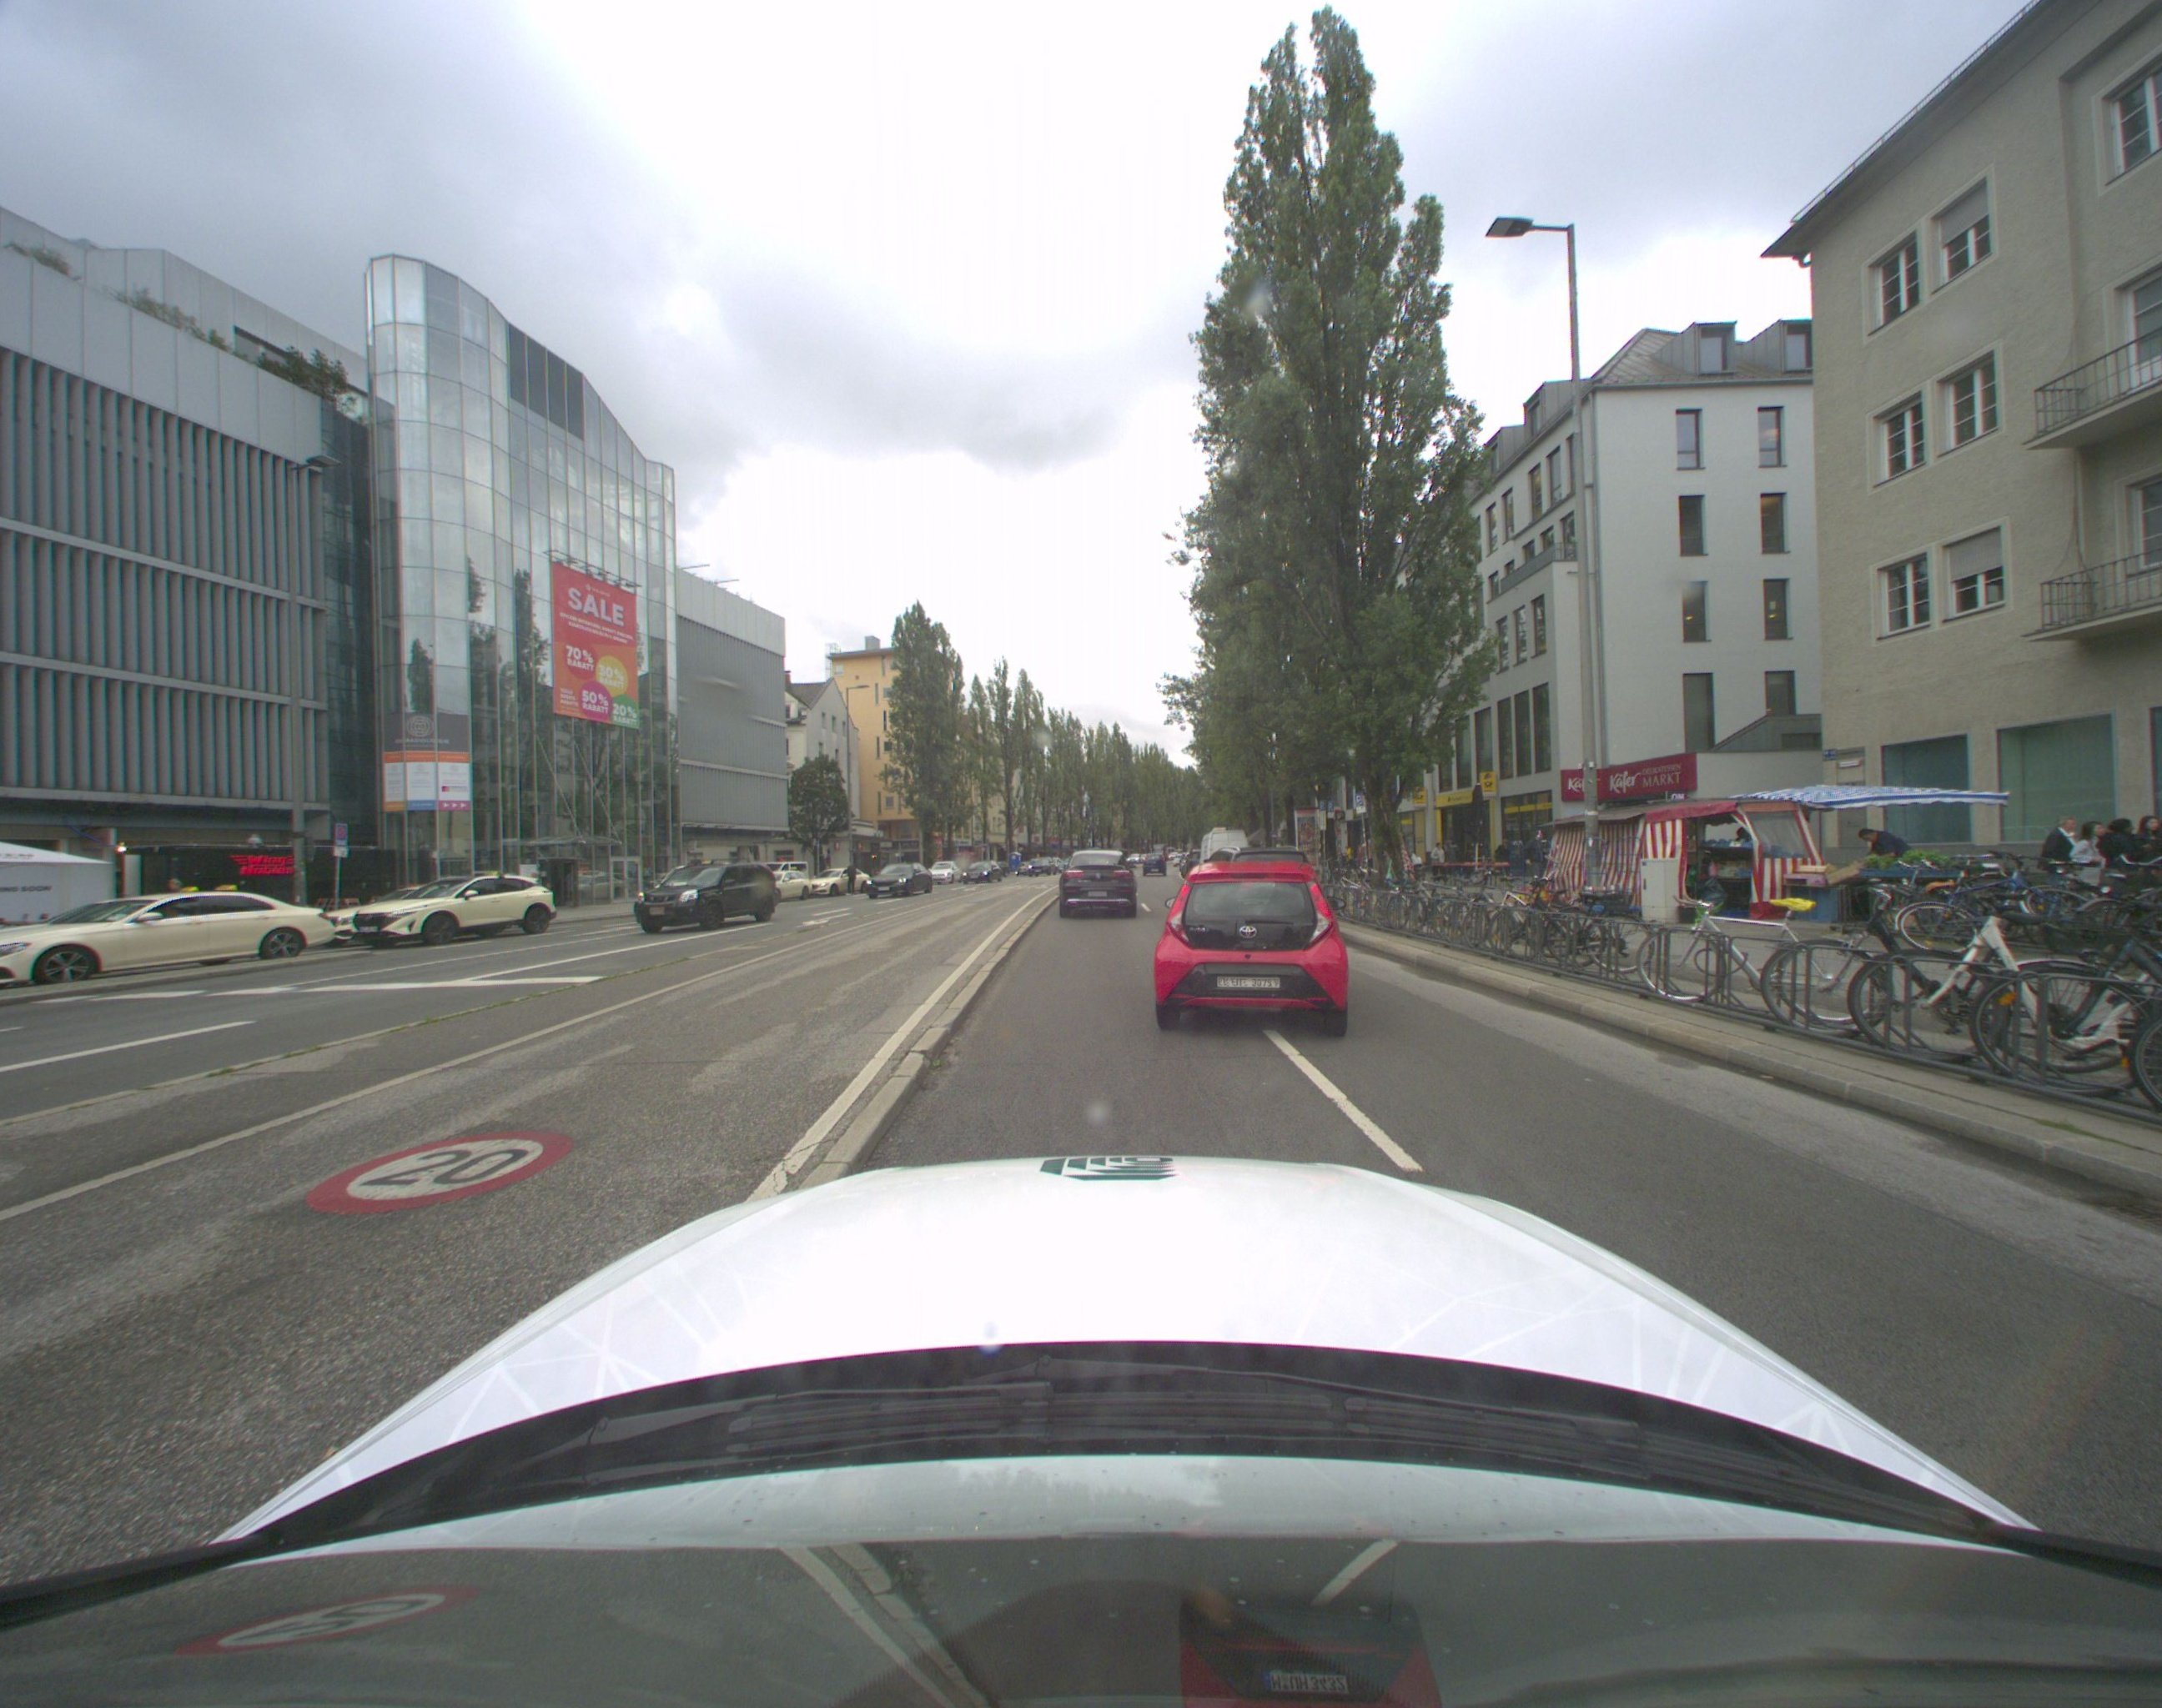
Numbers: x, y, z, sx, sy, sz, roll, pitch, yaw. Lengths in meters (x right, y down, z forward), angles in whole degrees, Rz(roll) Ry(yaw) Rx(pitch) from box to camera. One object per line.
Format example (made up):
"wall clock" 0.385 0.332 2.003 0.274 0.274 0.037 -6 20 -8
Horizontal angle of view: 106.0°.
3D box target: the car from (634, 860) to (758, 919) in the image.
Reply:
"car" -14.979 1.310 32.104 1.985 2.013 5.327 -3 0 4

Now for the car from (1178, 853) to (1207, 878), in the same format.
"car" 7.707 0.766 56.632 1.719 1.686 4.414 -1 0 5

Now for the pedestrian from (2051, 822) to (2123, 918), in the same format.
"pedestrian" 16.342 0.258 13.240 0.557 1.540 0.466 0 -1 1

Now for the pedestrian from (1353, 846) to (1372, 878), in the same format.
"pedestrian" 15.459 0.456 44.741 0.712 1.724 0.744 -3 -1 38

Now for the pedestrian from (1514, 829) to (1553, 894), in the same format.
"pedestrian" 12.678 0.214 22.840 0.789 1.795 0.573 0 -1 7

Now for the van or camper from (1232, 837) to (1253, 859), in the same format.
"van or camper" 23.478 -0.849 118.261 2.442 3.112 4.734 -3 0 15

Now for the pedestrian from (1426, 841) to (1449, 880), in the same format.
"pedestrian" 14.589 0.269 33.342 0.638 1.583 0.636 -3 0 9

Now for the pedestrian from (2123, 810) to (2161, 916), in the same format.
"pedestrian" 17.178 0.146 13.037 0.527 1.673 0.469 0 -1 -23

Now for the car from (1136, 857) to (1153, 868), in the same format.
"car" 10.170 1.298 130.824 1.981 1.589 5.211 -4 0 11

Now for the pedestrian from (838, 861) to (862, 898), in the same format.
"pedestrian" -12.046 1.320 42.541 0.779 1.867 0.852 -2 0 26

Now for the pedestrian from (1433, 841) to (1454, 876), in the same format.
"pedestrian" 17.740 0.214 39.855 0.687 1.649 0.799 -2 0 6

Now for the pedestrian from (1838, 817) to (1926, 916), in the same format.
"pedestrian" 14.163 0.212 14.416 0.791 1.673 0.729 -2 0 0

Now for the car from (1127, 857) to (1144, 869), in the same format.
"car" 8.210 1.370 122.519 1.896 1.603 4.370 -2 0 13

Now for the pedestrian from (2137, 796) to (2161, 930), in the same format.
"pedestrian" 15.067 0.107 10.989 0.716 1.829 0.726 -2 0 -14

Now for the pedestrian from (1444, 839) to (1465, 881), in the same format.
"pedestrian" 15.306 0.246 33.424 0.576 1.701 0.598 -3 0 9

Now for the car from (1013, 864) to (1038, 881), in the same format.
"car" -5.441 1.810 80.188 1.774 1.466 4.007 -3 0 6

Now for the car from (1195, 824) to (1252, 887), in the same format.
"car" 6.620 0.092 38.485 1.985 2.741 5.558 0 -1 3

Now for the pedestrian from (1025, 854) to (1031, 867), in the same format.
"pedestrian" -7.595 0.886 117.295 0.634 1.862 0.650 -2 0 13

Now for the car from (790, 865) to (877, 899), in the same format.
"car" -13.023 1.437 43.208 1.842 1.469 5.004 -4 -1 17

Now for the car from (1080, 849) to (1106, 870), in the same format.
"car" 1.647 0.715 108.566 2.155 2.605 6.085 -2 0 13

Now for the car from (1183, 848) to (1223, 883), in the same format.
"car" 6.686 0.606 44.949 1.919 1.805 4.787 0 0 6

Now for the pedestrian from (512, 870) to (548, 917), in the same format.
"pedestrian" -22.056 1.563 32.616 0.783 1.805 0.821 -2 0 13

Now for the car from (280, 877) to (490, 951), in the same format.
"car" -18.262 1.516 21.642 1.761 1.616 4.010 -2 0 9

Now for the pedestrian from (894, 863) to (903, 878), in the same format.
"pedestrian" -17.777 1.599 79.467 0.630 1.435 0.778 -2 0 0

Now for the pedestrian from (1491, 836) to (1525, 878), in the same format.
"pedestrian" 17.198 0.117 32.841 0.797 1.637 1.023 -2 0 1

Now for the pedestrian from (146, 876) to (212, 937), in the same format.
"pedestrian" -23.852 1.368 21.550 0.726 1.546 0.902 -2 0 14

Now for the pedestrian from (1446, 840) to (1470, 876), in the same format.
"pedestrian" 17.140 0.182 37.054 0.688 1.585 0.773 -2 0 1

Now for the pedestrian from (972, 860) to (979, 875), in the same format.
"pedestrian" -12.473 1.631 96.084 0.535 1.747 0.758 -1 0 14

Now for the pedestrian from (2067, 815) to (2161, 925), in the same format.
"pedestrian" 15.070 0.220 11.778 0.674 1.528 0.730 -2 0 2

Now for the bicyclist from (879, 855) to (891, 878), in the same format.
"bicyclist" -14.085 0.879 58.541 0.499 1.592 0.838 -2 0 14

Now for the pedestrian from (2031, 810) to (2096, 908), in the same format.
"pedestrian" 17.137 0.092 14.213 0.539 1.674 0.503 0 -1 -9

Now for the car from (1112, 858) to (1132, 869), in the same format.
"car" 5.605 1.285 110.932 1.786 1.394 4.708 -2 0 14

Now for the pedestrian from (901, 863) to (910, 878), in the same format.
"pedestrian" -17.160 1.594 79.543 0.630 1.435 0.778 -2 0 0

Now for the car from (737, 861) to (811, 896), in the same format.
"car" -19.484 1.515 51.968 1.981 2.013 5.126 -2 0 10

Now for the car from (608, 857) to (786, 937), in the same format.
"car" -9.790 1.008 21.278 1.983 1.777 4.608 -2 0 7

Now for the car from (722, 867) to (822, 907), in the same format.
"car" -14.268 1.478 37.942 1.965 1.552 5.099 -2 0 10

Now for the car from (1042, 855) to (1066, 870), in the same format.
"car" -2.986 0.911 89.896 1.942 1.589 4.008 -2 0 7

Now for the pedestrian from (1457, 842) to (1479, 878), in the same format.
"pedestrian" 16.136 0.246 33.923 0.641 1.476 0.764 -1 -1 39

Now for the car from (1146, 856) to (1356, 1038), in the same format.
"car" 1.604 0.766 8.370 1.656 1.446 3.604 0 -1 8
